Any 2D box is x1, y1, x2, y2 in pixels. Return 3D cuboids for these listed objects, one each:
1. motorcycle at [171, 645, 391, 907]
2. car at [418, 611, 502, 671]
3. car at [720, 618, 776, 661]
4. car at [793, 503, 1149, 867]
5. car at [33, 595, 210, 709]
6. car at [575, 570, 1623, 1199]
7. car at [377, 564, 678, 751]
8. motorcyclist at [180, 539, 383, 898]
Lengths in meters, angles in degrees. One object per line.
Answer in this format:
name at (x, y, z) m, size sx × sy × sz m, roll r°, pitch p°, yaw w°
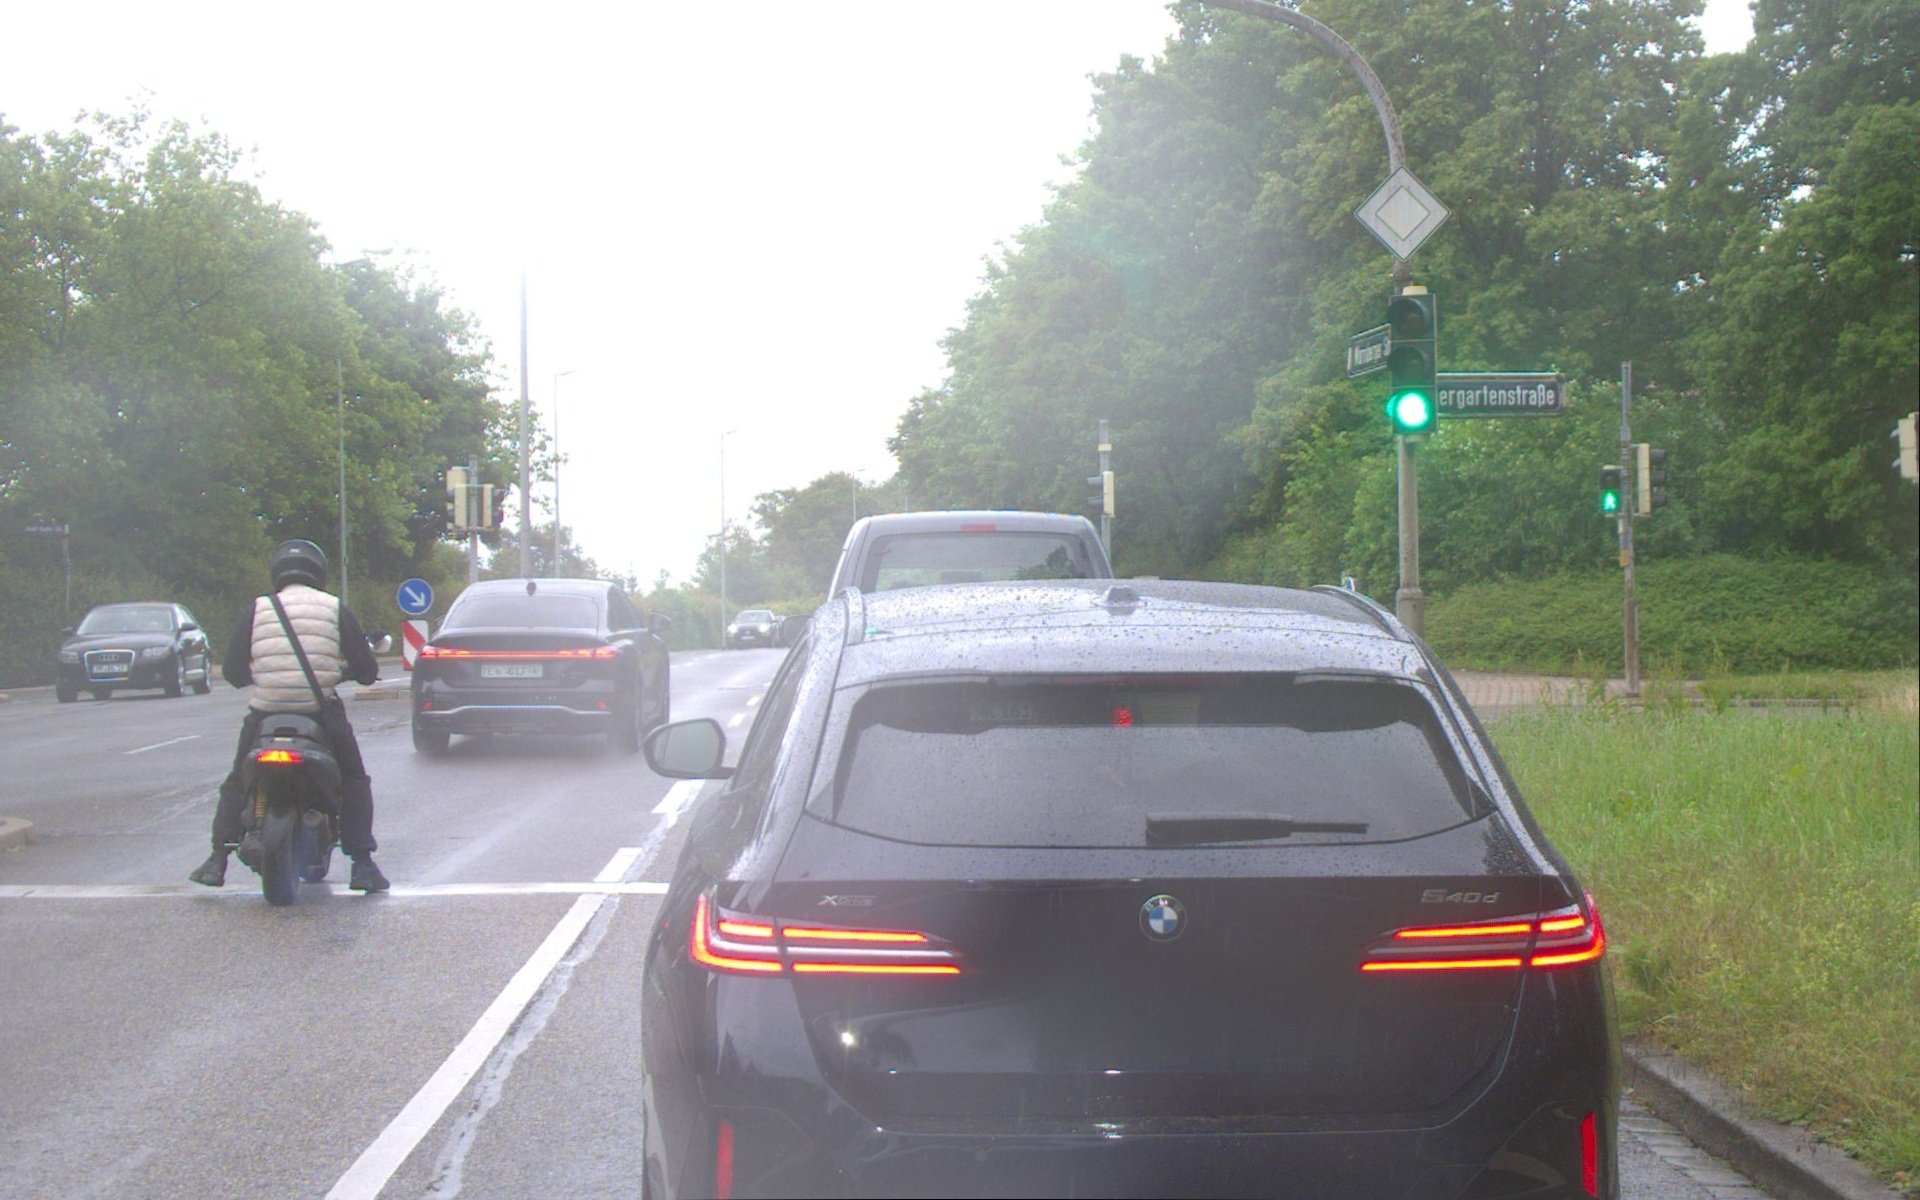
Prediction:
motorcycle at (-3.118, 0.788, 15.902) m, size 0.741 × 1.116 × 1.426 m, roll 0°, pitch 1°, yaw -1°
car at (-13.646, 1.109, 93.954) m, size 1.727 × 1.480 × 4.157 m, roll -2°, pitch 1°, yaw -2°
car at (-8.333, 1.543, 135.277) m, size 2.025 × 1.558 × 3.877 m, roll -2°, pitch 0°, yaw -2°
car at (0.031, 0.390, 19.090) m, size 1.767 × 1.804 × 3.905 m, roll 0°, pitch 1°, yaw -1°
car at (-12.116, 0.724, 49.898) m, size 1.862 × 1.487 × 3.834 m, roll -2°, pitch 1°, yaw -4°
car at (0.215, 0.708, 7.640) m, size 1.764 × 1.531 × 3.673 m, roll 0°, pitch 0°, yaw -1°
car at (-3.554, 0.426, 29.013) m, size 2.014 × 1.410 × 4.487 m, roll 0°, pitch 1°, yaw -1°
motorcyclist at (-3.145, 0.539, 15.973) m, size 0.845 × 1.641 × 0.468 m, roll 0°, pitch 1°, yaw -1°
